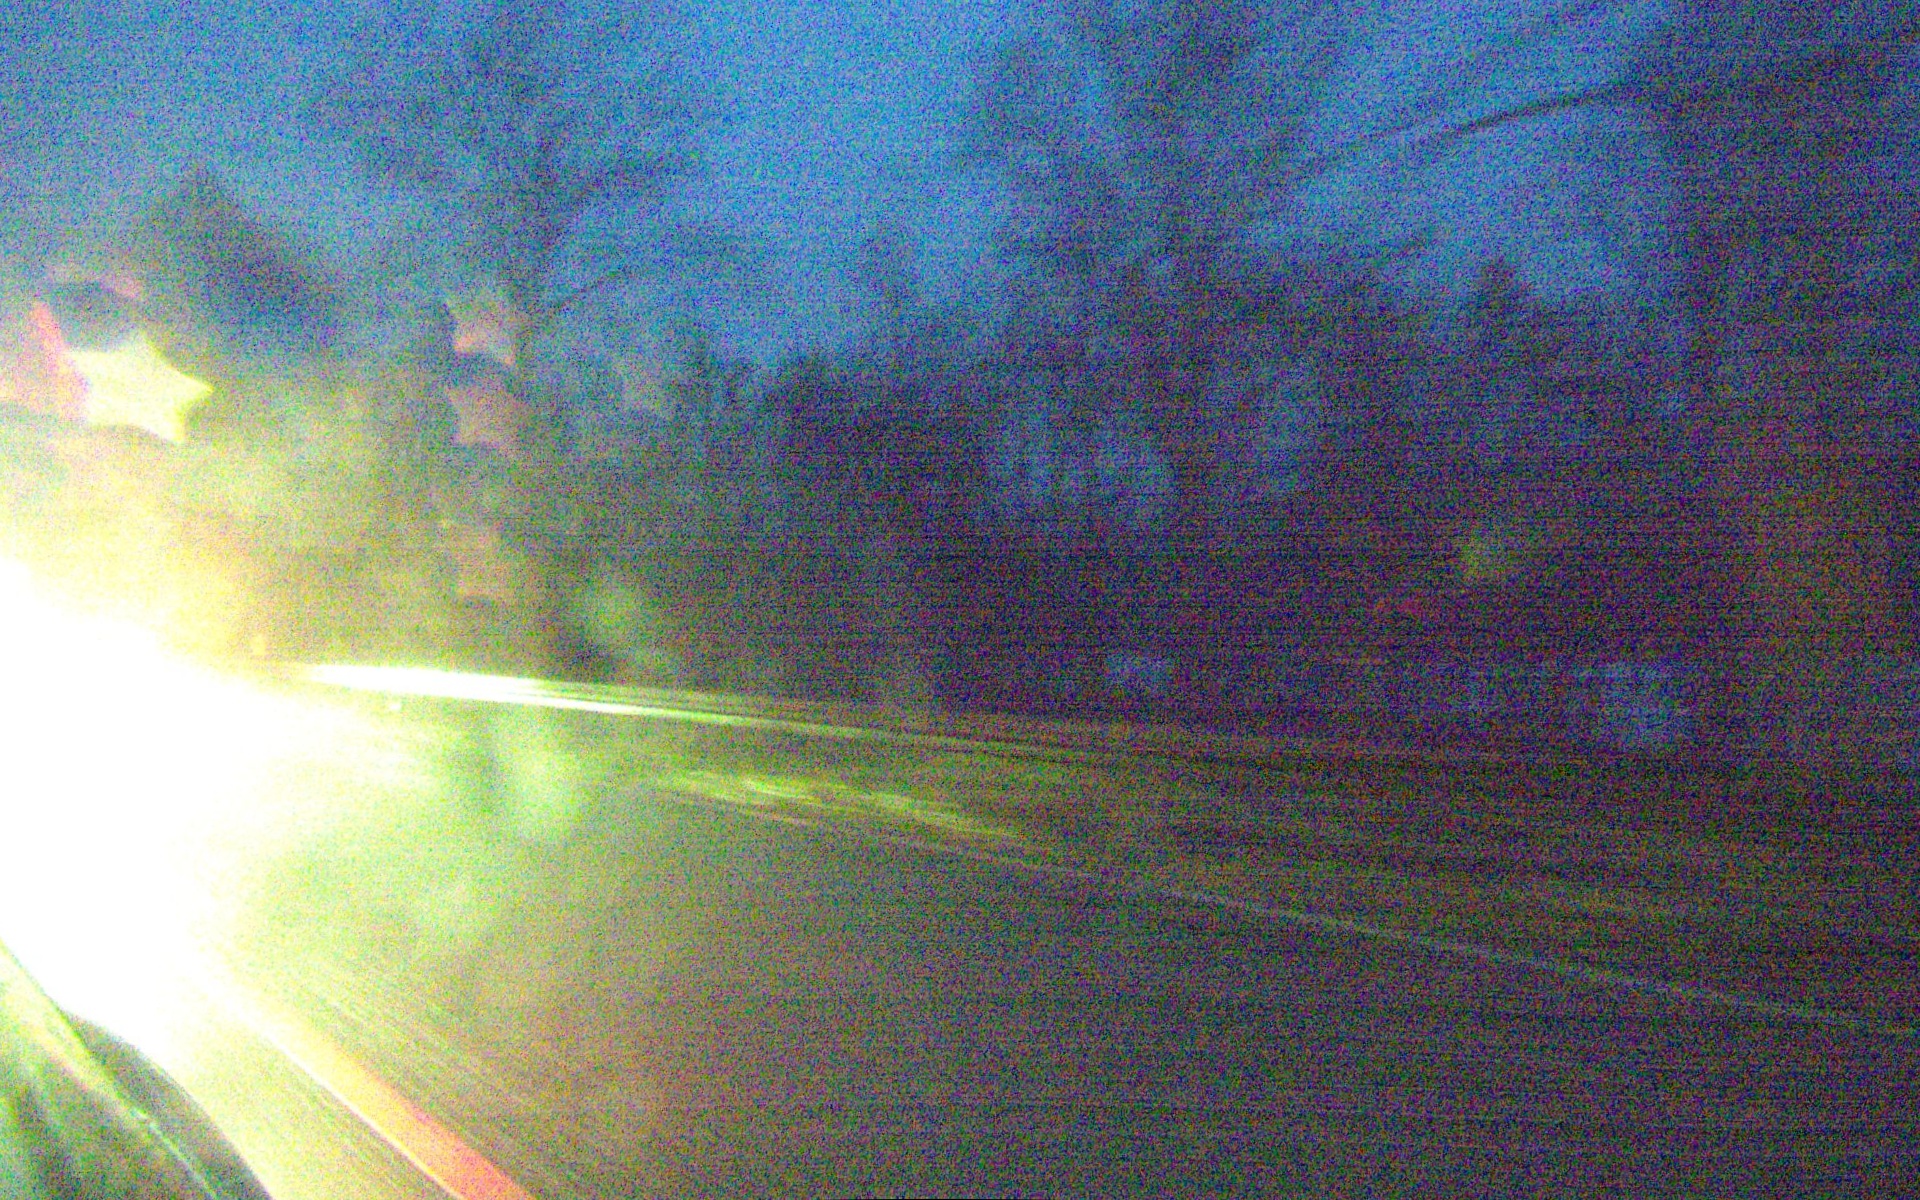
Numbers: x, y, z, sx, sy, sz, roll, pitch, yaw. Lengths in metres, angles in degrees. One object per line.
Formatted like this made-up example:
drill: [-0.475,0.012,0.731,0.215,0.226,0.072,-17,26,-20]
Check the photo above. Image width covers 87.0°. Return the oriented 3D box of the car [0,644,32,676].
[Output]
car: [-47.678,3.001,50.735,1.575,1.522,3.604,3,-4,-42]

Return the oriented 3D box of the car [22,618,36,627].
car: [-176.395,4.257,191.787,3.601,1.653,1.721,0,1,43]

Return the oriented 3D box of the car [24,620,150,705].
car: [-17.339,1.211,20.055,3.487,1.537,1.545,-2,-4,44]
